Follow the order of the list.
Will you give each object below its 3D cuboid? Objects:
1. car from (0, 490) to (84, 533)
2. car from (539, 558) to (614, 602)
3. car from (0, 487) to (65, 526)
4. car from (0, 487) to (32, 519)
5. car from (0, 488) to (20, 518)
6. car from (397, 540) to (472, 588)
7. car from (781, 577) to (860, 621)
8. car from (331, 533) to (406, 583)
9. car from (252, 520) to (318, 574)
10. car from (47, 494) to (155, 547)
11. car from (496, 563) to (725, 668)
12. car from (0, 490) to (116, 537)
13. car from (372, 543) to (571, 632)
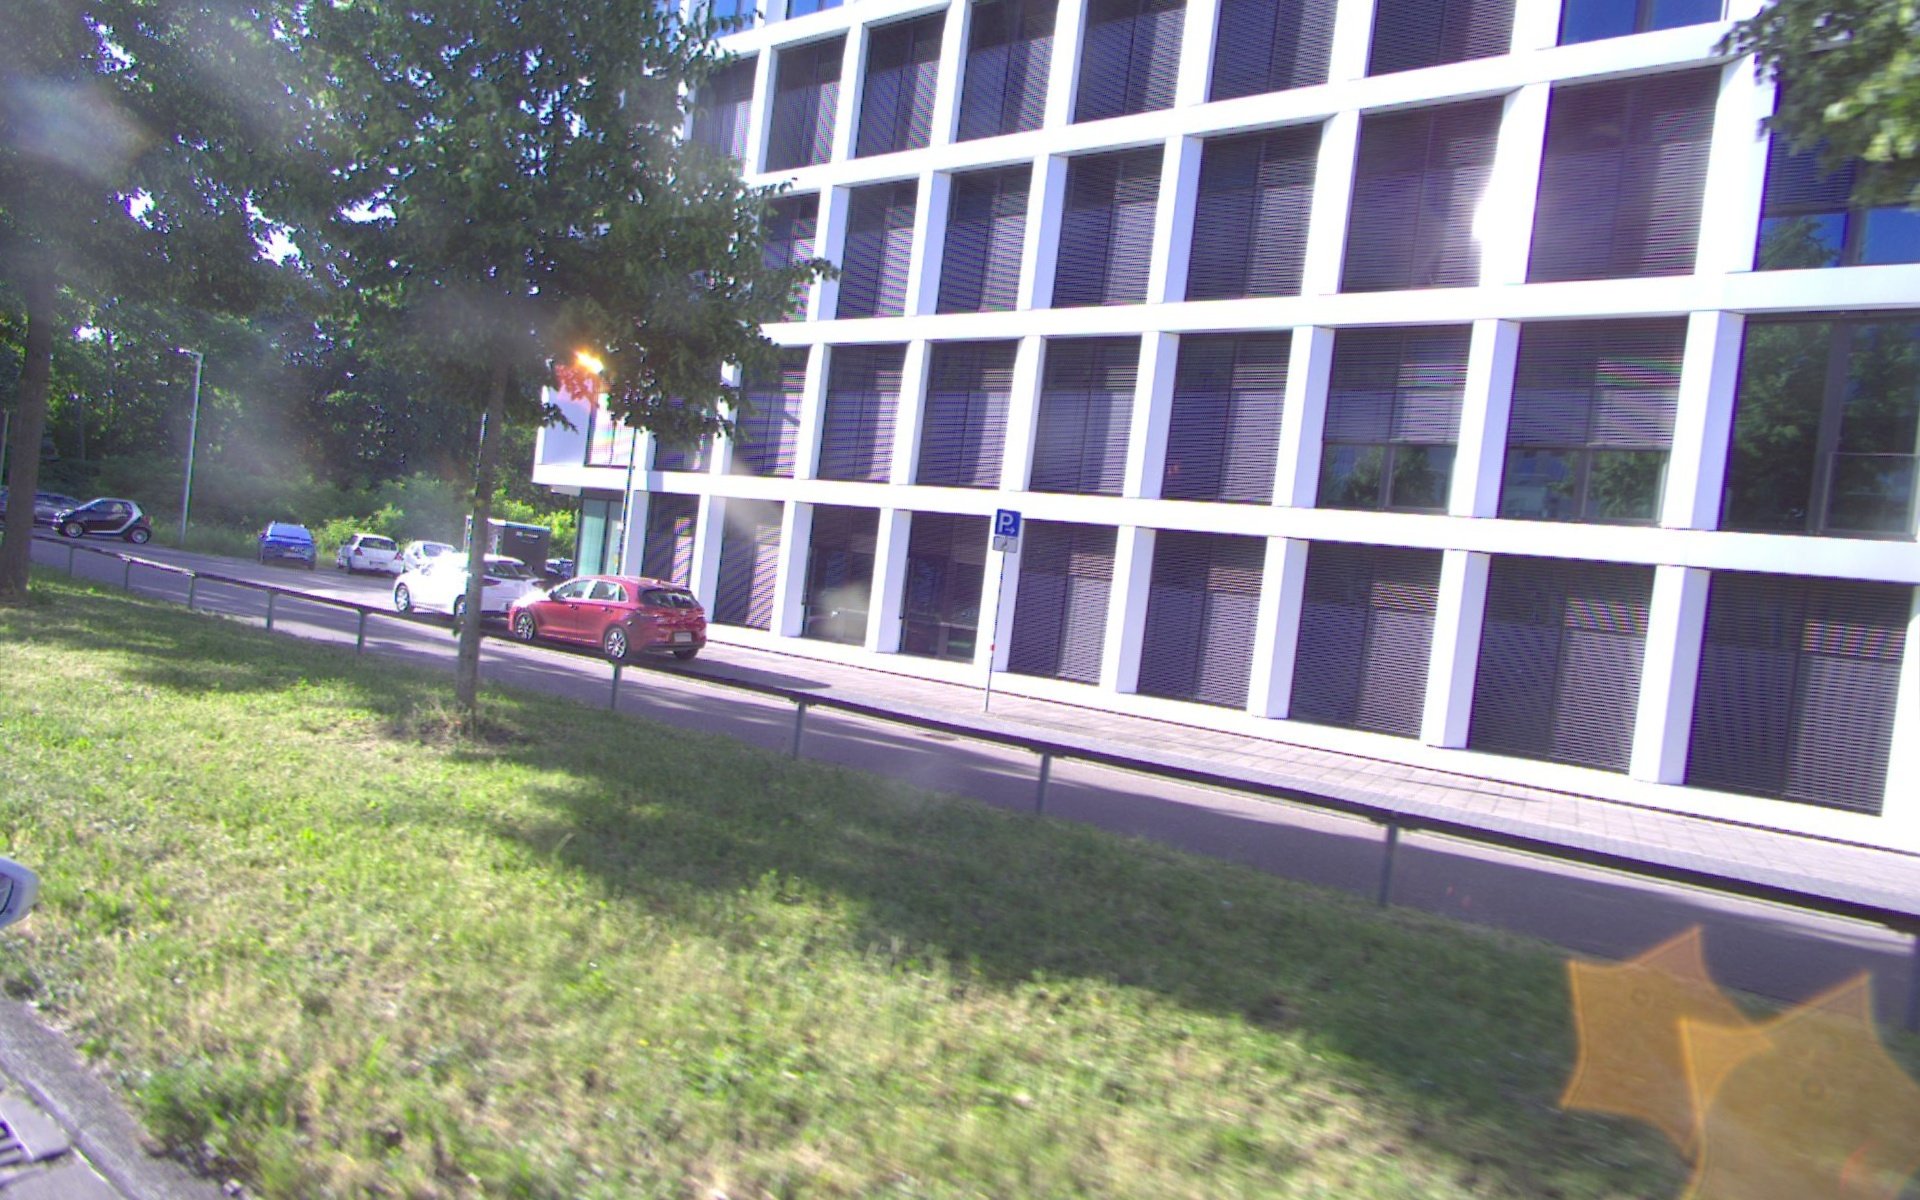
[{"bbox_3d":[-41.948,-4.036,44.658,1.752,1.517,4.197,7,0,29],"label":"car"},{"bbox_3d":[-16.625,-0.889,43.499,1.774,1.513,3.840,9,-2,-39],"label":"car"},{"bbox_3d":[-44.607,-4.471,46.540,1.874,1.497,4.333,8,2,28],"label":"car"},{"bbox_3d":[-47.127,-4.766,47.623,1.968,1.430,4.376,7,4,34],"label":"car"},{"bbox_3d":[-49.460,-4.986,49.243,1.967,1.425,4.718,7,3,32],"label":"car"},{"bbox_3d":[-20.731,-1.447,39.636,1.711,1.558,3.908,9,-2,-39],"label":"car"},{"bbox_3d":[-7.188,-0.054,51.695,1.988,1.637,3.951,9,0,-42],"label":"car"},{"bbox_3d":[-22.435,-1.614,38.069,1.740,1.553,3.840,9,-2,-39],"label":"car"},{"bbox_3d":[-24.229,-1.927,36.059,1.585,1.566,3.777,6,2,-38],"label":"car"},{"bbox_3d":[-31.624,-2.921,37.071,1.441,1.569,2.761,6,0,41],"label":"car"},{"bbox_3d":[-6.707,0.254,19.178,4.202,1.506,1.865,6,2,32],"label":"car"},{"bbox_3d":[-37.734,-3.610,41.509,1.687,1.487,4.081,7,1,33],"label":"car"},{"bbox_3d":[-10.729,-0.292,22.004,4.332,1.506,1.992,7,2,35],"label":"car"}]
